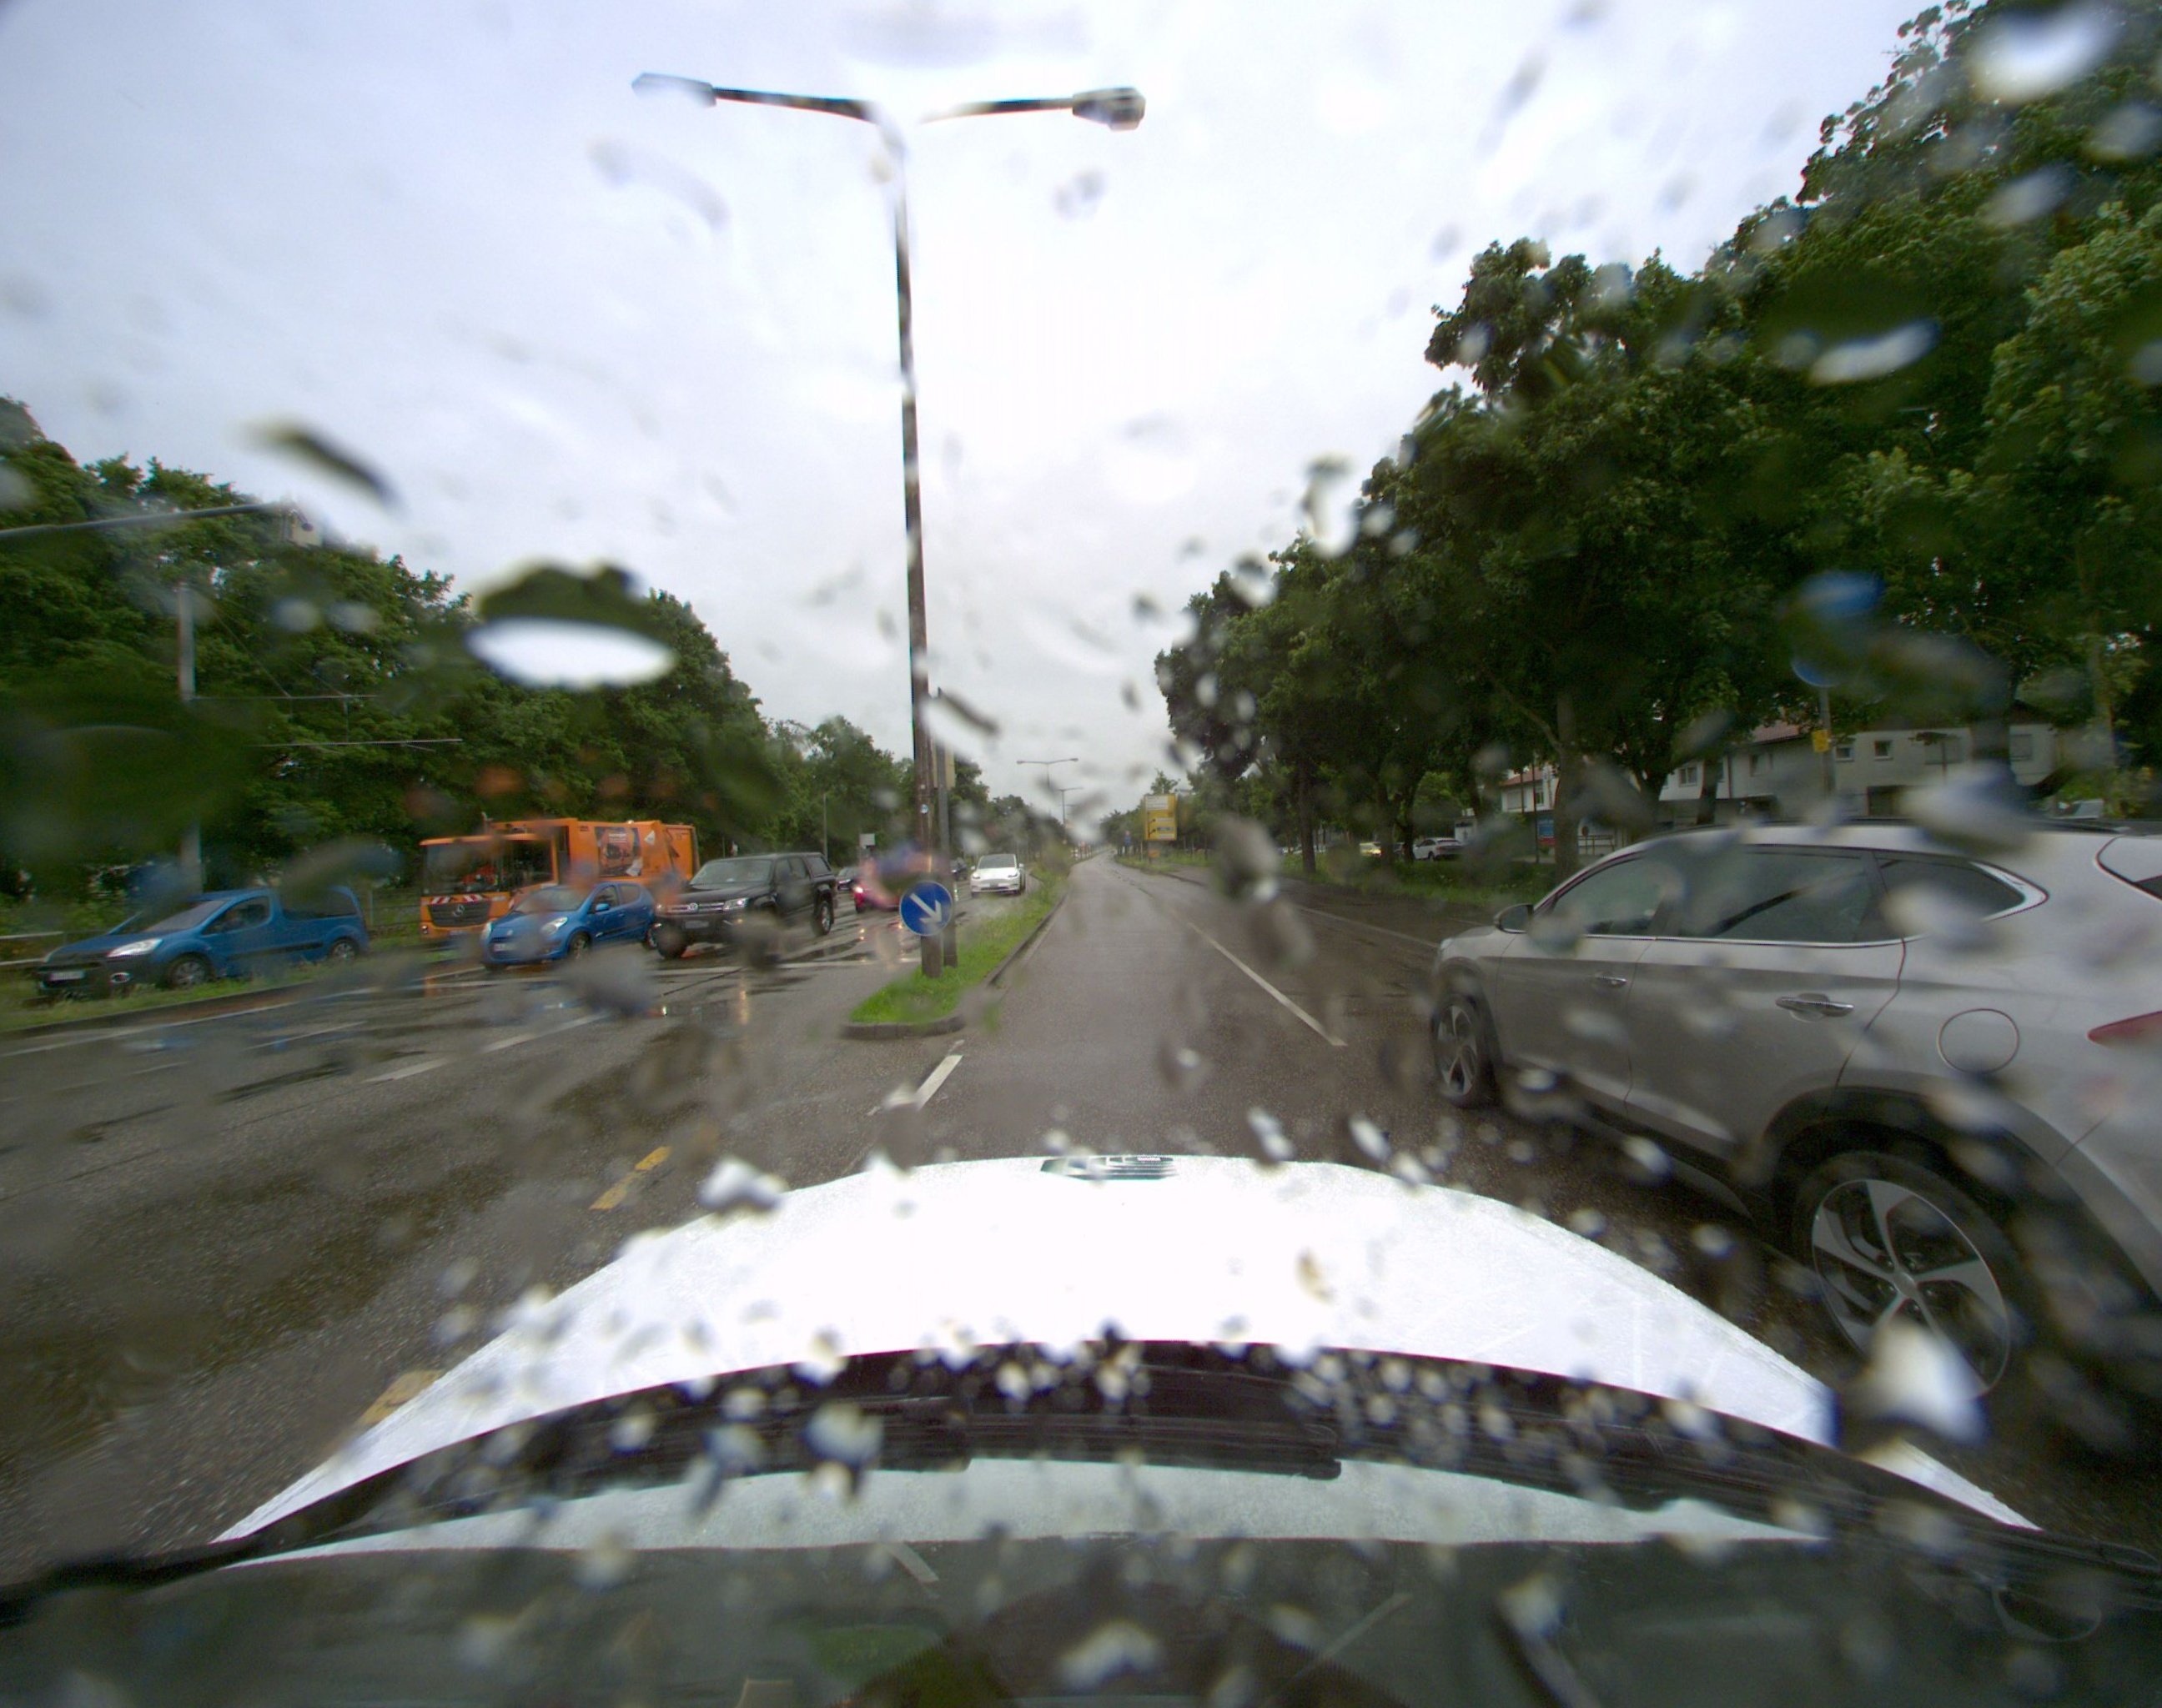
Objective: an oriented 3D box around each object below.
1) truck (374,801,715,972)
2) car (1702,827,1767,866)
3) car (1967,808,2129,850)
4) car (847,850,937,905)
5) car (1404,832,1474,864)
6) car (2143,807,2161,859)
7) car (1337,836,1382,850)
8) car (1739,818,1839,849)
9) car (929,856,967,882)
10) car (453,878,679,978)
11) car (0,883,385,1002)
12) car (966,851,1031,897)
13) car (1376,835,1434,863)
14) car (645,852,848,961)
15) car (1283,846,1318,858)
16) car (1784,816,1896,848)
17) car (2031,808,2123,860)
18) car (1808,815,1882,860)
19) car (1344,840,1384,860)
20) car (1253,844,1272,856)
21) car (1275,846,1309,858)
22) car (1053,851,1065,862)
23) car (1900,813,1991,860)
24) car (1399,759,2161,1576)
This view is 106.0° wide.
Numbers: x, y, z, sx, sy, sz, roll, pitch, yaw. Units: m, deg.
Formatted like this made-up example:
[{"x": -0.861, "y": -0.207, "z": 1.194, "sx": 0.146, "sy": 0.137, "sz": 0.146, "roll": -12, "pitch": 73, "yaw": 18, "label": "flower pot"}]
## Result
[{"x": -15.477, "y": 0.839, "z": 25.144, "sx": 3.372, "sy": 4.167, "sz": 10.410, "roll": 0, "pitch": 0, "yaw": 2, "label": "truck"}, {"x": 24.279, "y": -0.246, "z": 30.222, "sx": 3.408, "sy": 1.352, "sz": 1.506, "roll": 0, "pitch": -1, "yaw": -45, "label": "car"}, {"x": 38.381, "y": -0.954, "z": 32.502, "sx": 1.745, "sy": 1.500, "sz": 4.119, "roll": 0, "pitch": 0, "yaw": 4, "label": "car"}, {"x": -6.159, "y": 0.755, "z": 27.044, "sx": 1.795, "sy": 1.569, "sz": 4.429, "roll": -4, "pitch": -1, "yaw": 1, "label": "car"}, {"x": 21.661, "y": -0.332, "z": 49.523, "sx": 1.987, "sy": 1.717, "sz": 4.877, "roll": -3, "pitch": 0, "yaw": 0, "label": "car"}, {"x": 32.036, "y": -0.589, "z": 23.394, "sx": 3.772, "sy": 1.449, "sz": 1.584, "roll": 0, "pitch": -1, "yaw": -41, "label": "car"}, {"x": 30.859, "y": -1.238, "z": 90.398, "sx": 4.323, "sy": 1.484, "sz": 1.944, "roll": 0, "pitch": -1, "yaw": -2, "label": "car"}, {"x": 33.894, "y": -0.955, "z": 39.121, "sx": 1.567, "sy": 1.316, "sz": 3.700, "roll": -1, "pitch": 0, "yaw": -1, "label": "car"}, {"x": -9.649, "y": 1.065, "z": 59.495, "sx": 1.699, "sy": 1.641, "sz": 4.336, "roll": -4, "pitch": 0, "yaw": 4, "label": "car"}, {"x": -9.436, "y": 1.276, "z": 15.364, "sx": 1.636, "sy": 1.427, "sz": 3.999, "roll": -4, "pitch": 0, "yaw": 0, "label": "car"}, {"x": -15.736, "y": 1.452, "z": 14.889, "sx": 1.985, "sy": 1.709, "sz": 4.530, "roll": 0, "pitch": 0, "yaw": 3, "label": "car"}, {"x": -3.229, "y": 0.754, "z": 32.776, "sx": 1.954, "sy": 1.617, "sz": 4.699, "roll": -3, "pitch": 0, "yaw": 1, "label": "car"}, {"x": 21.856, "y": -0.297, "z": 55.114, "sx": 1.987, "sy": 1.717, "sz": 4.640, "roll": -3, "pitch": 0, "yaw": 0, "label": "car"}, {"x": -6.481, "y": 0.893, "z": 16.540, "sx": 1.799, "sy": 1.773, "sz": 5.091, "roll": -4, "pitch": 0, "yaw": 1, "label": "car"}, {"x": 31.779, "y": -0.307, "z": 118.070, "sx": 4.558, "sy": 1.705, "sz": 1.998, "roll": 0, "pitch": -1, "yaw": -3, "label": "car"}, {"x": 36.176, "y": -0.994, "z": 38.967, "sx": 1.578, "sy": 1.385, "sz": 3.998, "roll": 0, "pitch": 0, "yaw": -1, "label": "car"}, {"x": 30.378, "y": -0.567, "z": 24.925, "sx": 3.772, "sy": 1.449, "sz": 1.650, "roll": 0, "pitch": -1, "yaw": -41, "label": "car"}, {"x": 26.355, "y": -0.516, "z": 28.182, "sx": 1.648, "sy": 1.449, "sz": 3.775, "roll": -1, "pitch": -1, "yaw": 40, "label": "car"}, {"x": 21.818, "y": -0.298, "z": 62.875, "sx": 1.632, "sy": 1.486, "sz": 4.072, "roll": 0, "pitch": 0, "yaw": 0, "label": "car"}, {"x": 23.925, "y": -0.547, "z": 107.370, "sx": 1.737, "sy": 1.445, "sz": 4.127, "roll": -3, "pitch": 2, "yaw": 4, "label": "car"}, {"x": 31.316, "y": -0.282, "z": 121.106, "sx": 4.561, "sy": 1.645, "sz": 1.997, "roll": 0, "pitch": -1, "yaw": -4, "label": "car"}, {"x": -3.822, "y": 0.414, "z": 139.296, "sx": 1.738, "sy": 1.650, "sz": 4.136, "roll": -4, "pitch": 0, "yaw": 1, "label": "car"}, {"x": 28.711, "y": -0.539, "z": 27.146, "sx": 1.648, "sy": 1.449, "sz": 3.775, "roll": -1, "pitch": -1, "yaw": 40, "label": "car"}, {"x": 3.118, "y": 0.632, "z": 3.587, "sx": 1.877, "sy": 1.610, "sz": 4.196, "roll": 1, "pitch": 0, "yaw": 1, "label": "car"}]
